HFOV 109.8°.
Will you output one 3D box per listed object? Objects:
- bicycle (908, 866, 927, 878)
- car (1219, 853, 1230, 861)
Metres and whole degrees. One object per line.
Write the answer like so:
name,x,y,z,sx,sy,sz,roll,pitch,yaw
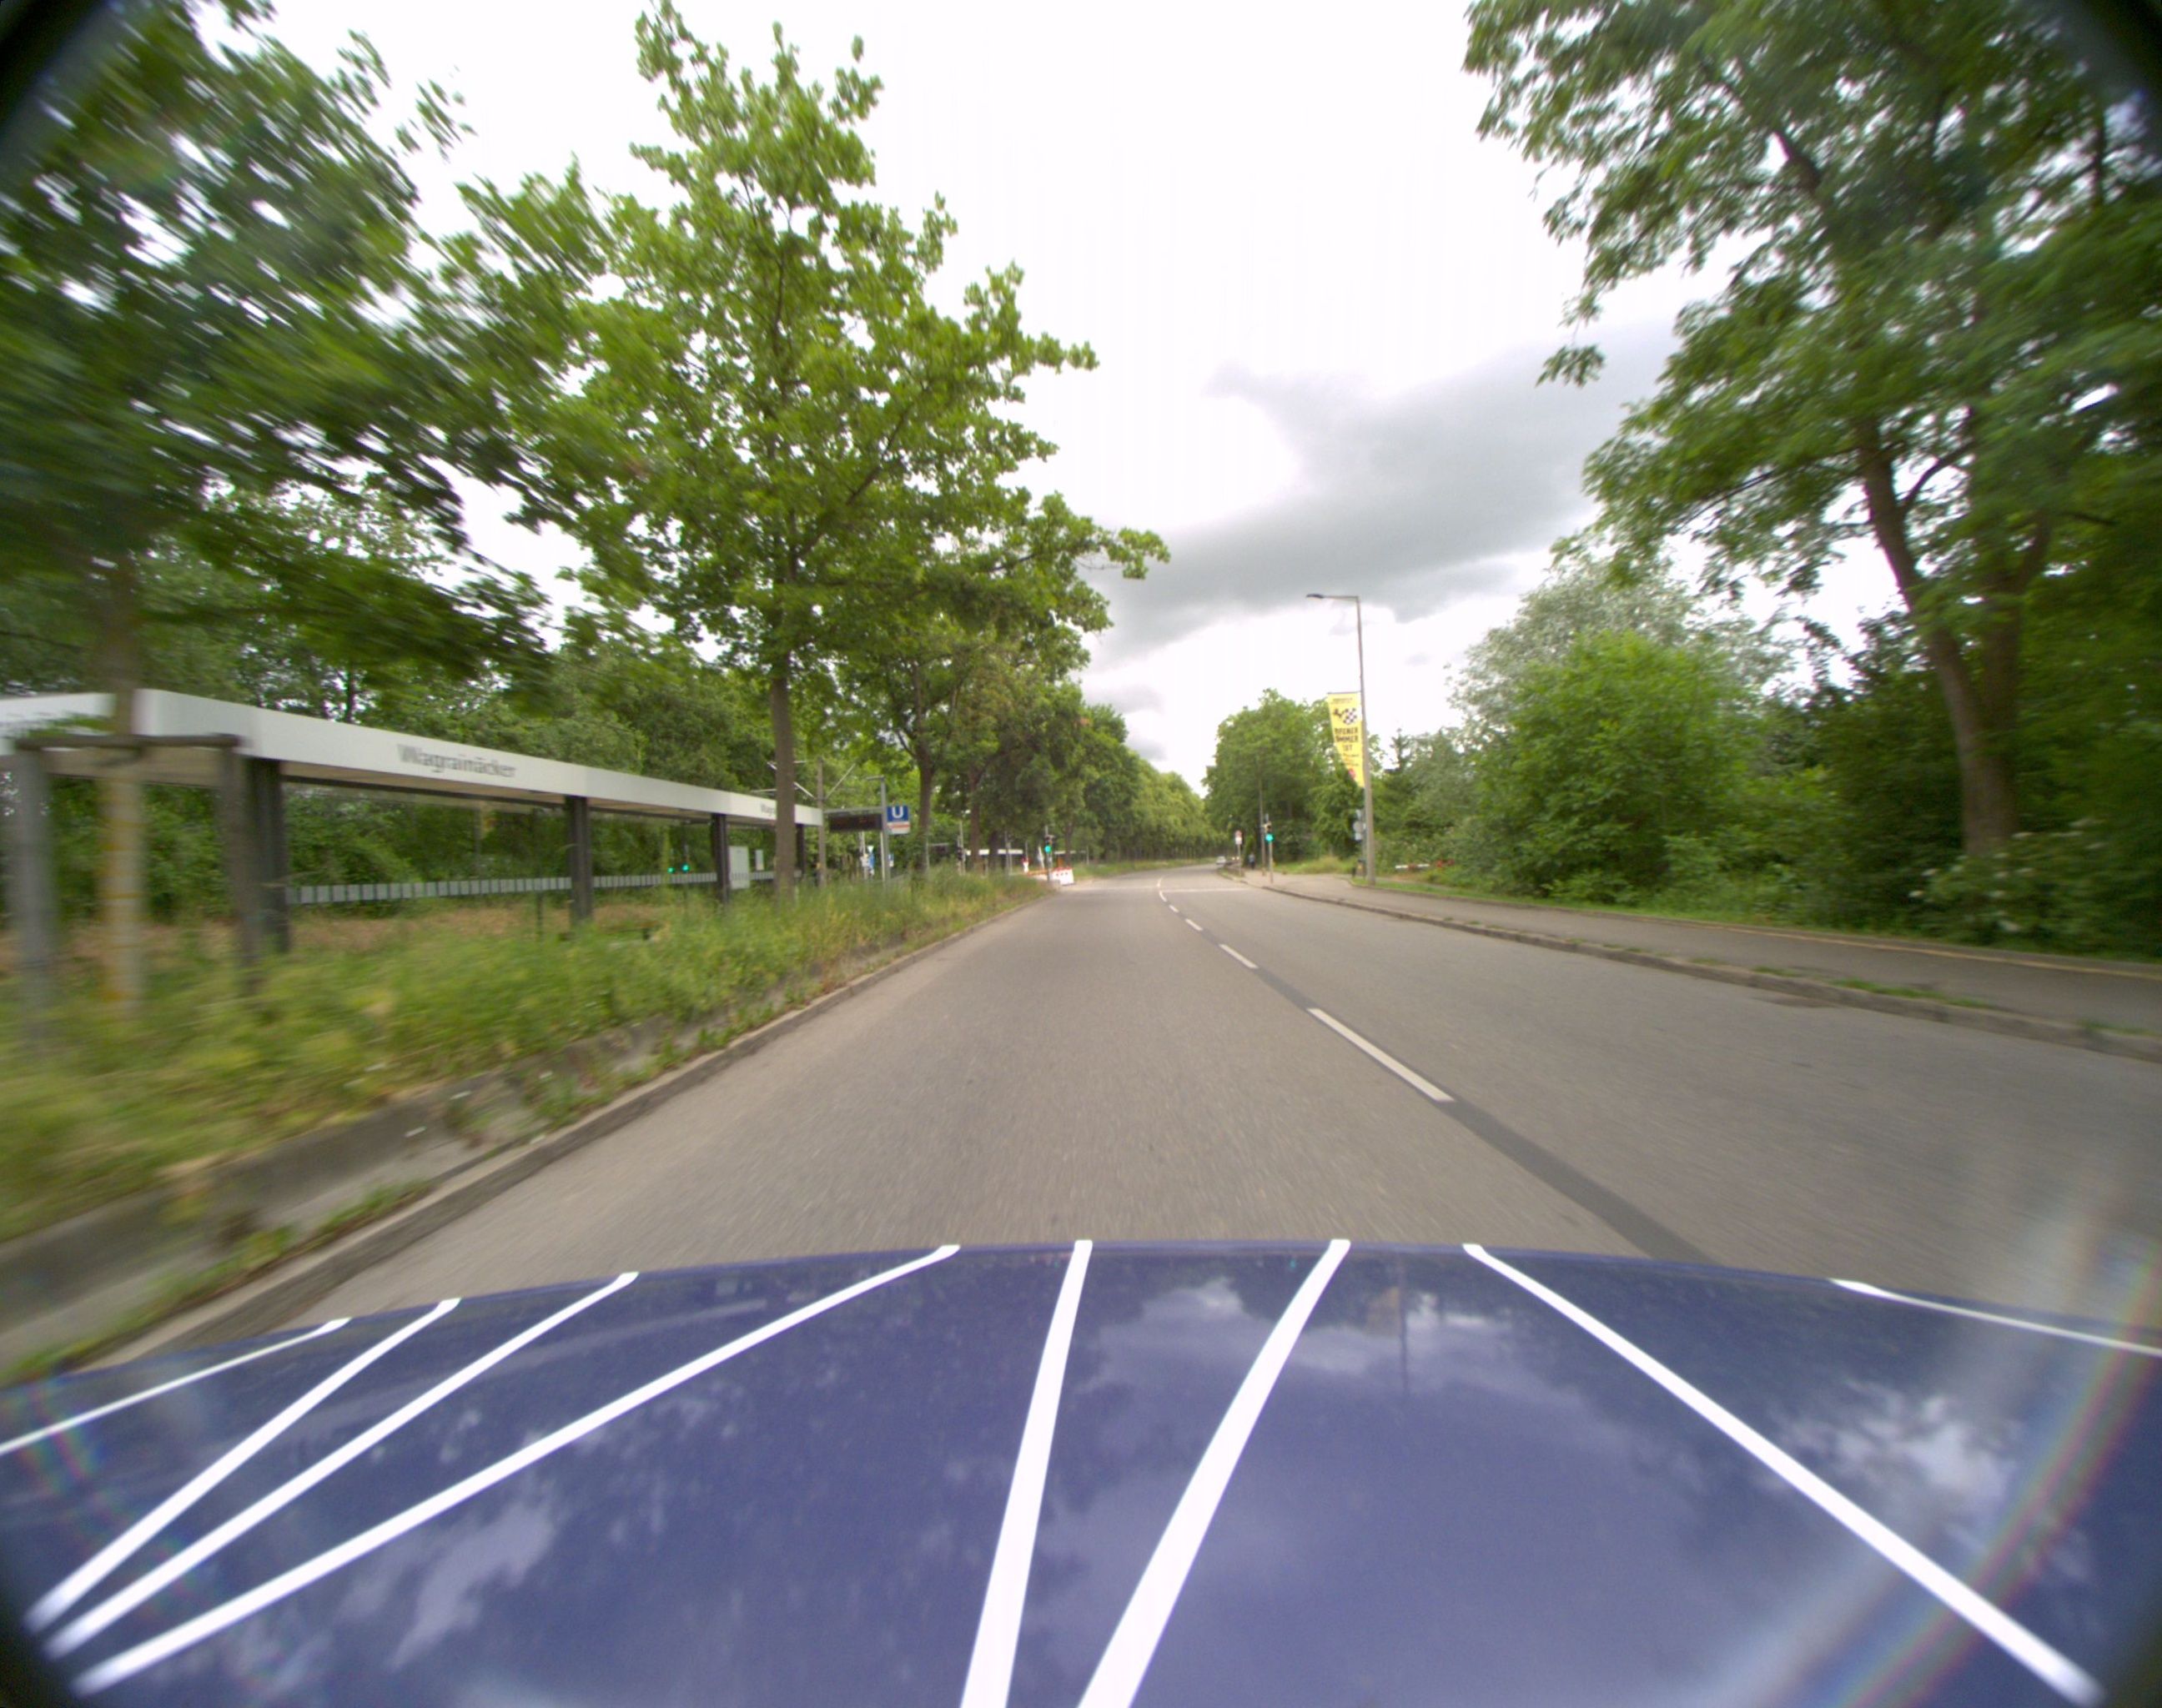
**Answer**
bicycle,-14.556,1.603,67.738,1.511,0.968,0.450,-5,0,7
car,27.043,0.550,143.565,1.776,1.431,4.364,-2,0,8
